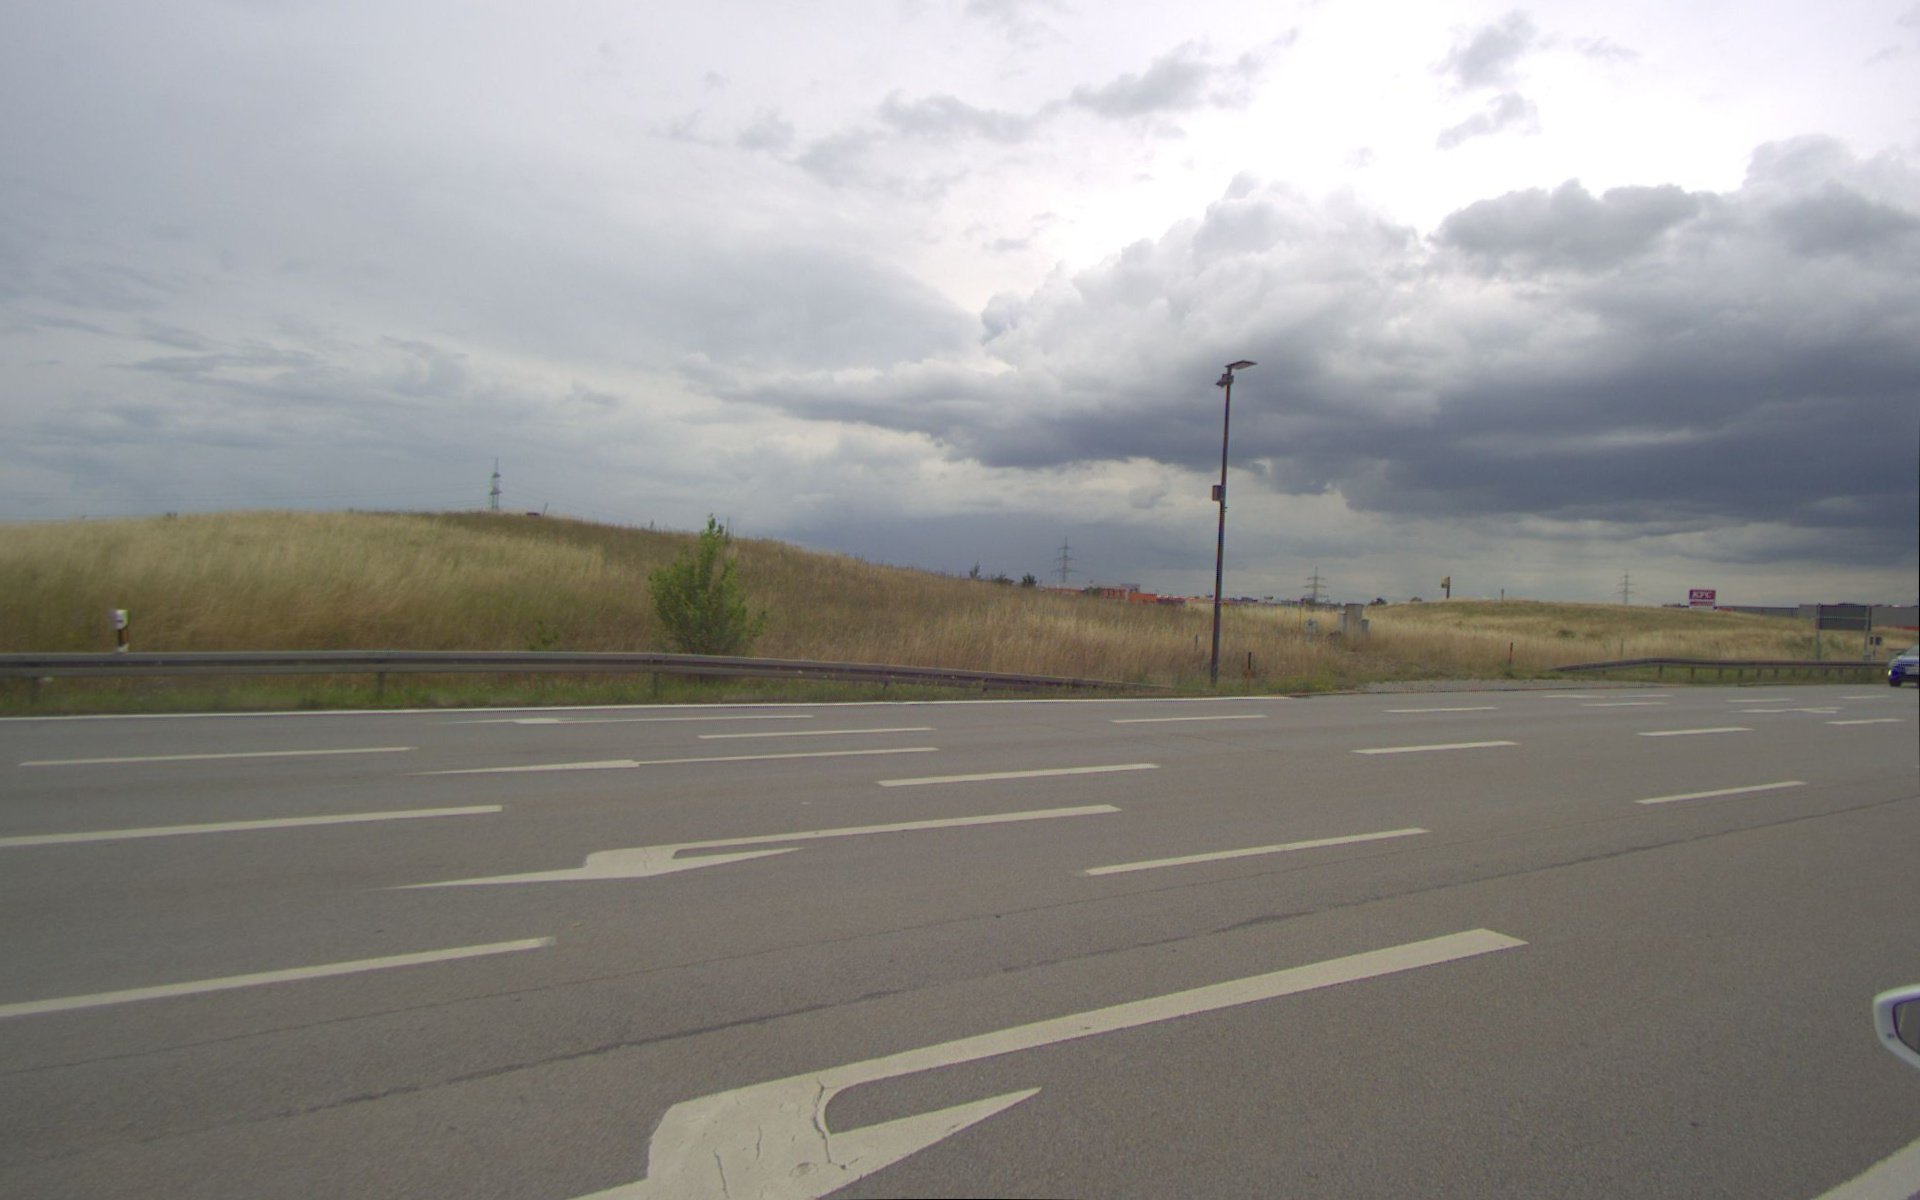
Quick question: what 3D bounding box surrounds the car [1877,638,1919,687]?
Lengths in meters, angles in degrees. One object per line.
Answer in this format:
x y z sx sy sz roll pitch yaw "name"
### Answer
33.073 2.137 34.133 3.956 1.571 1.788 2 0 -32 "car"
